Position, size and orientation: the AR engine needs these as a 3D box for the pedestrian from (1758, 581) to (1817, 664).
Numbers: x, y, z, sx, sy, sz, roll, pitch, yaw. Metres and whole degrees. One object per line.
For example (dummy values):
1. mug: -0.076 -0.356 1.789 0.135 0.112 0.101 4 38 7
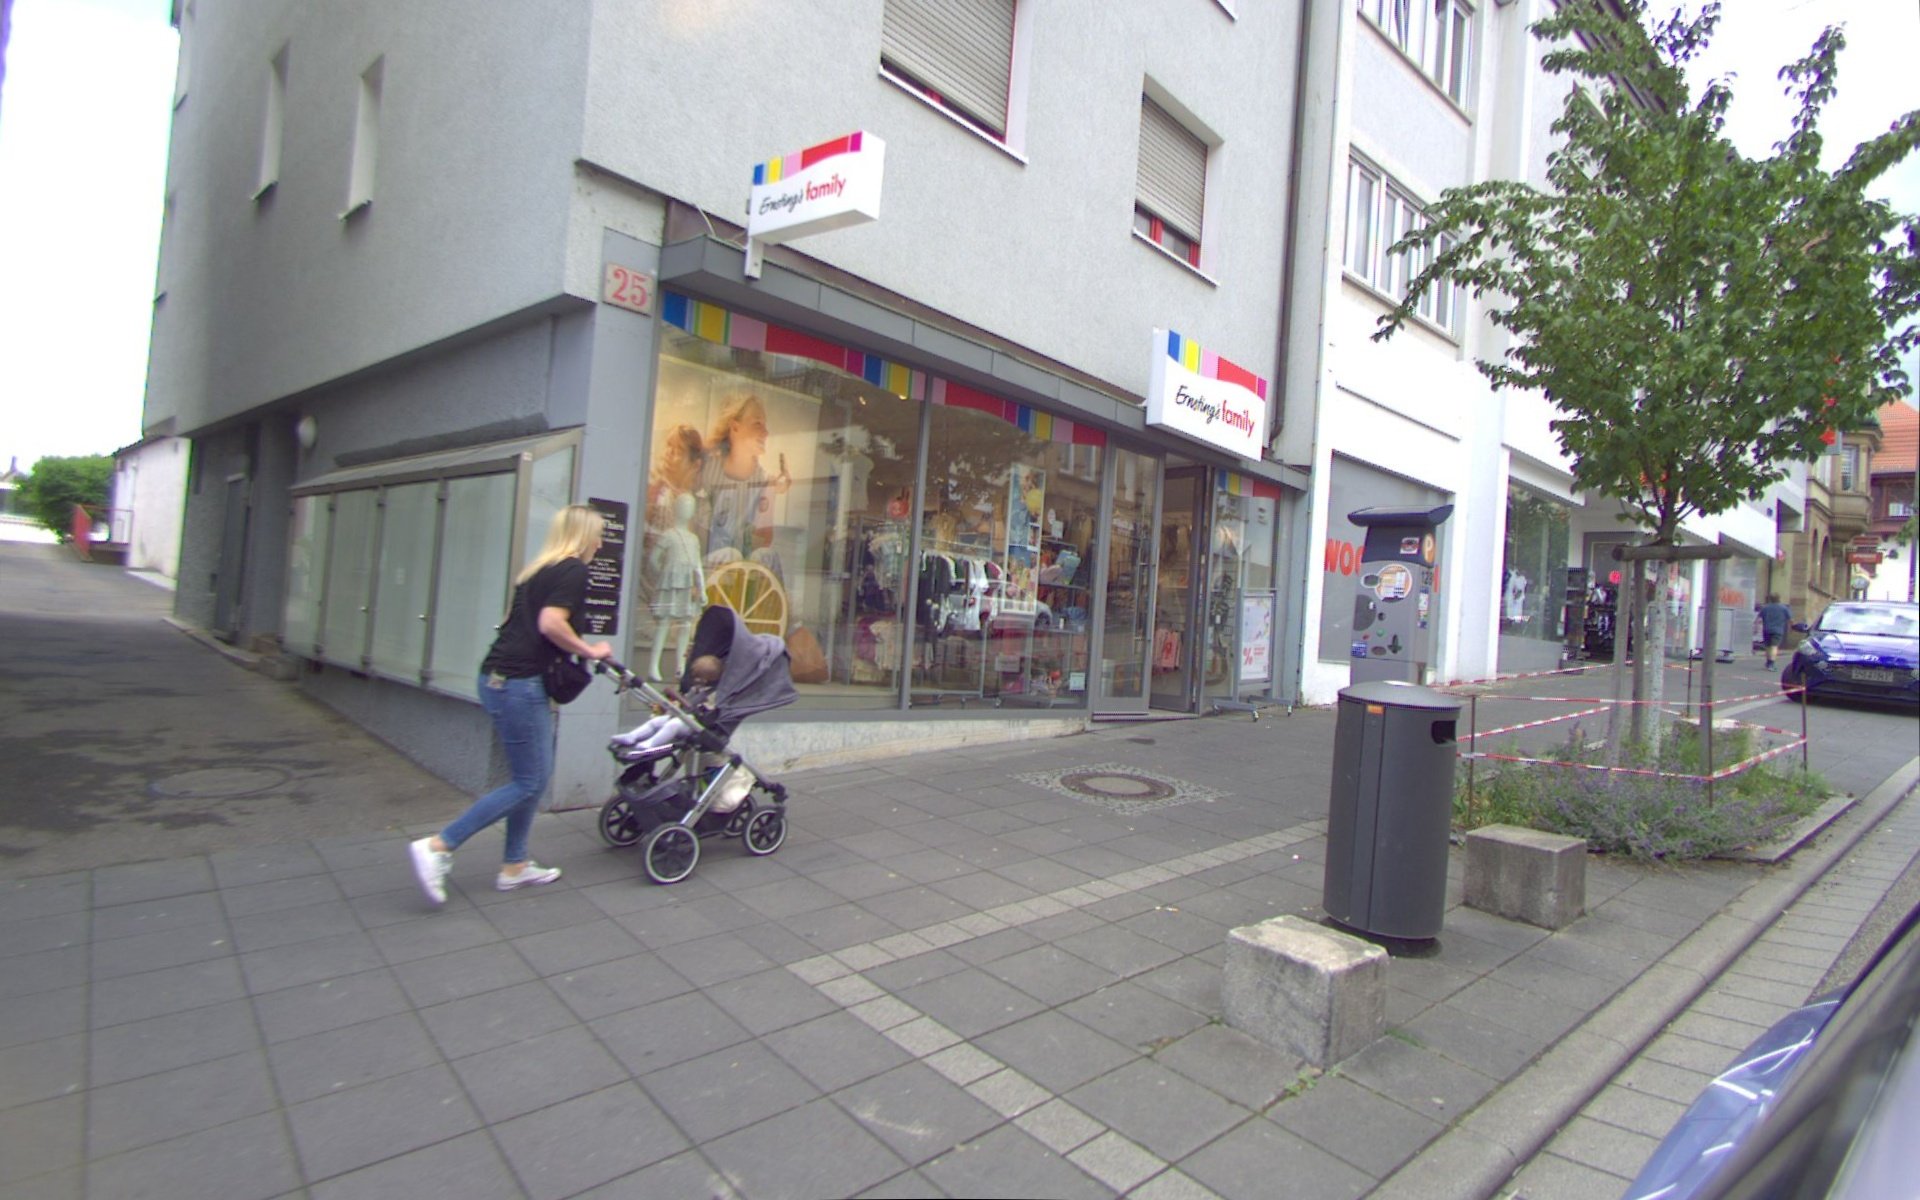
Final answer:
1. pedestrian: 16.381 0.437 20.038 0.804 1.580 0.757 2 1 -43

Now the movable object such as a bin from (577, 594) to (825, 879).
1. movable object such as a bin: -1.246 0.586 4.879 0.891 1.172 0.723 1 3 -42

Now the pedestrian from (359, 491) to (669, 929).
1. pedestrian: -1.885 0.381 4.285 0.983 1.604 0.737 1 3 -42

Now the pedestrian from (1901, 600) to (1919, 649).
1. pedestrian: 33.174 0.858 34.929 0.786 1.687 0.827 2 0 -34

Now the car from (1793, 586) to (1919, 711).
1. car: 13.275 0.612 14.443 1.750 1.515 3.739 6 4 44
